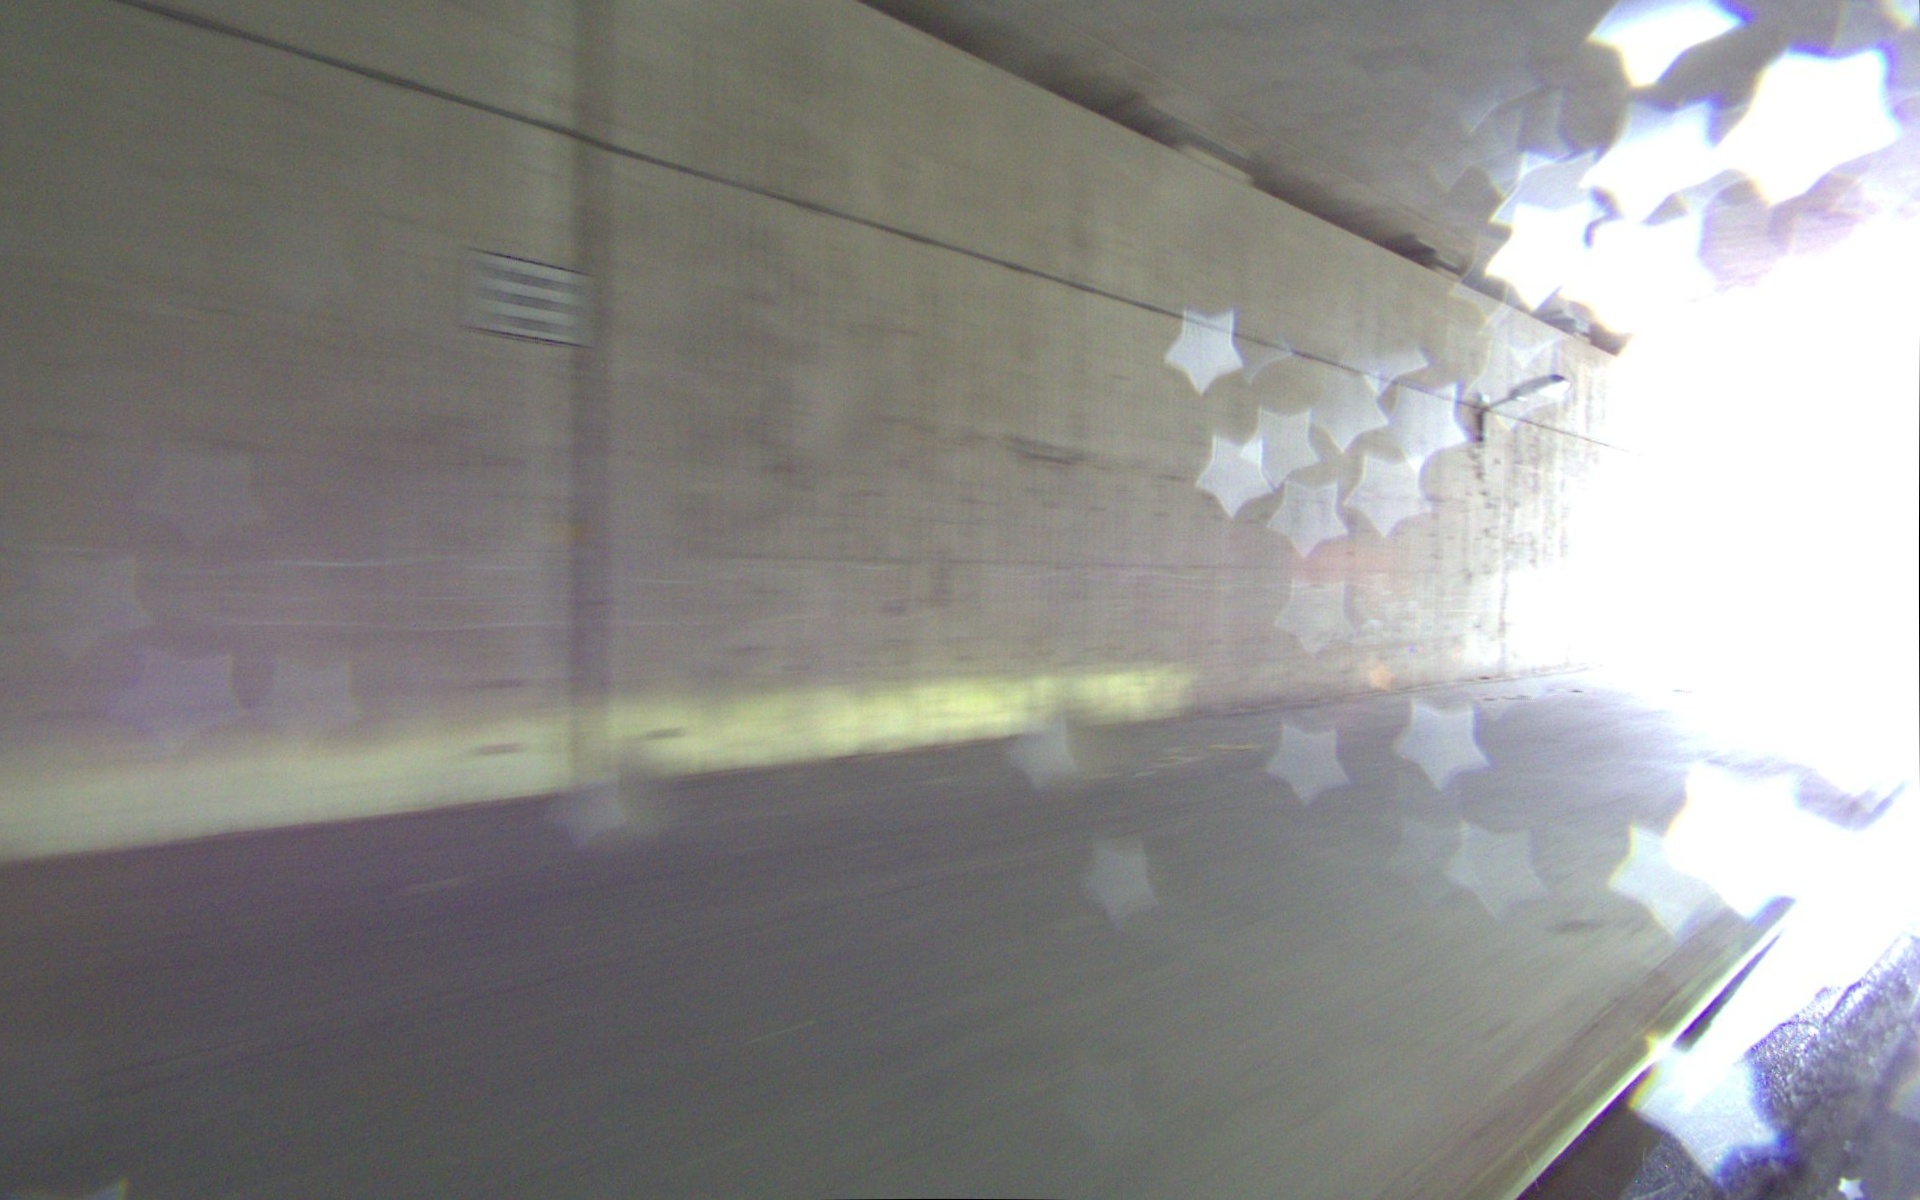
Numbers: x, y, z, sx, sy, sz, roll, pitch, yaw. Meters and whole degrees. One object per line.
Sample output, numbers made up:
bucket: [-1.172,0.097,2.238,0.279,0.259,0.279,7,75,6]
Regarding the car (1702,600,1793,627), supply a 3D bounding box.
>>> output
car: [45.927,0.804,59.105,3.800,1.551,1.711,0,0,15]
